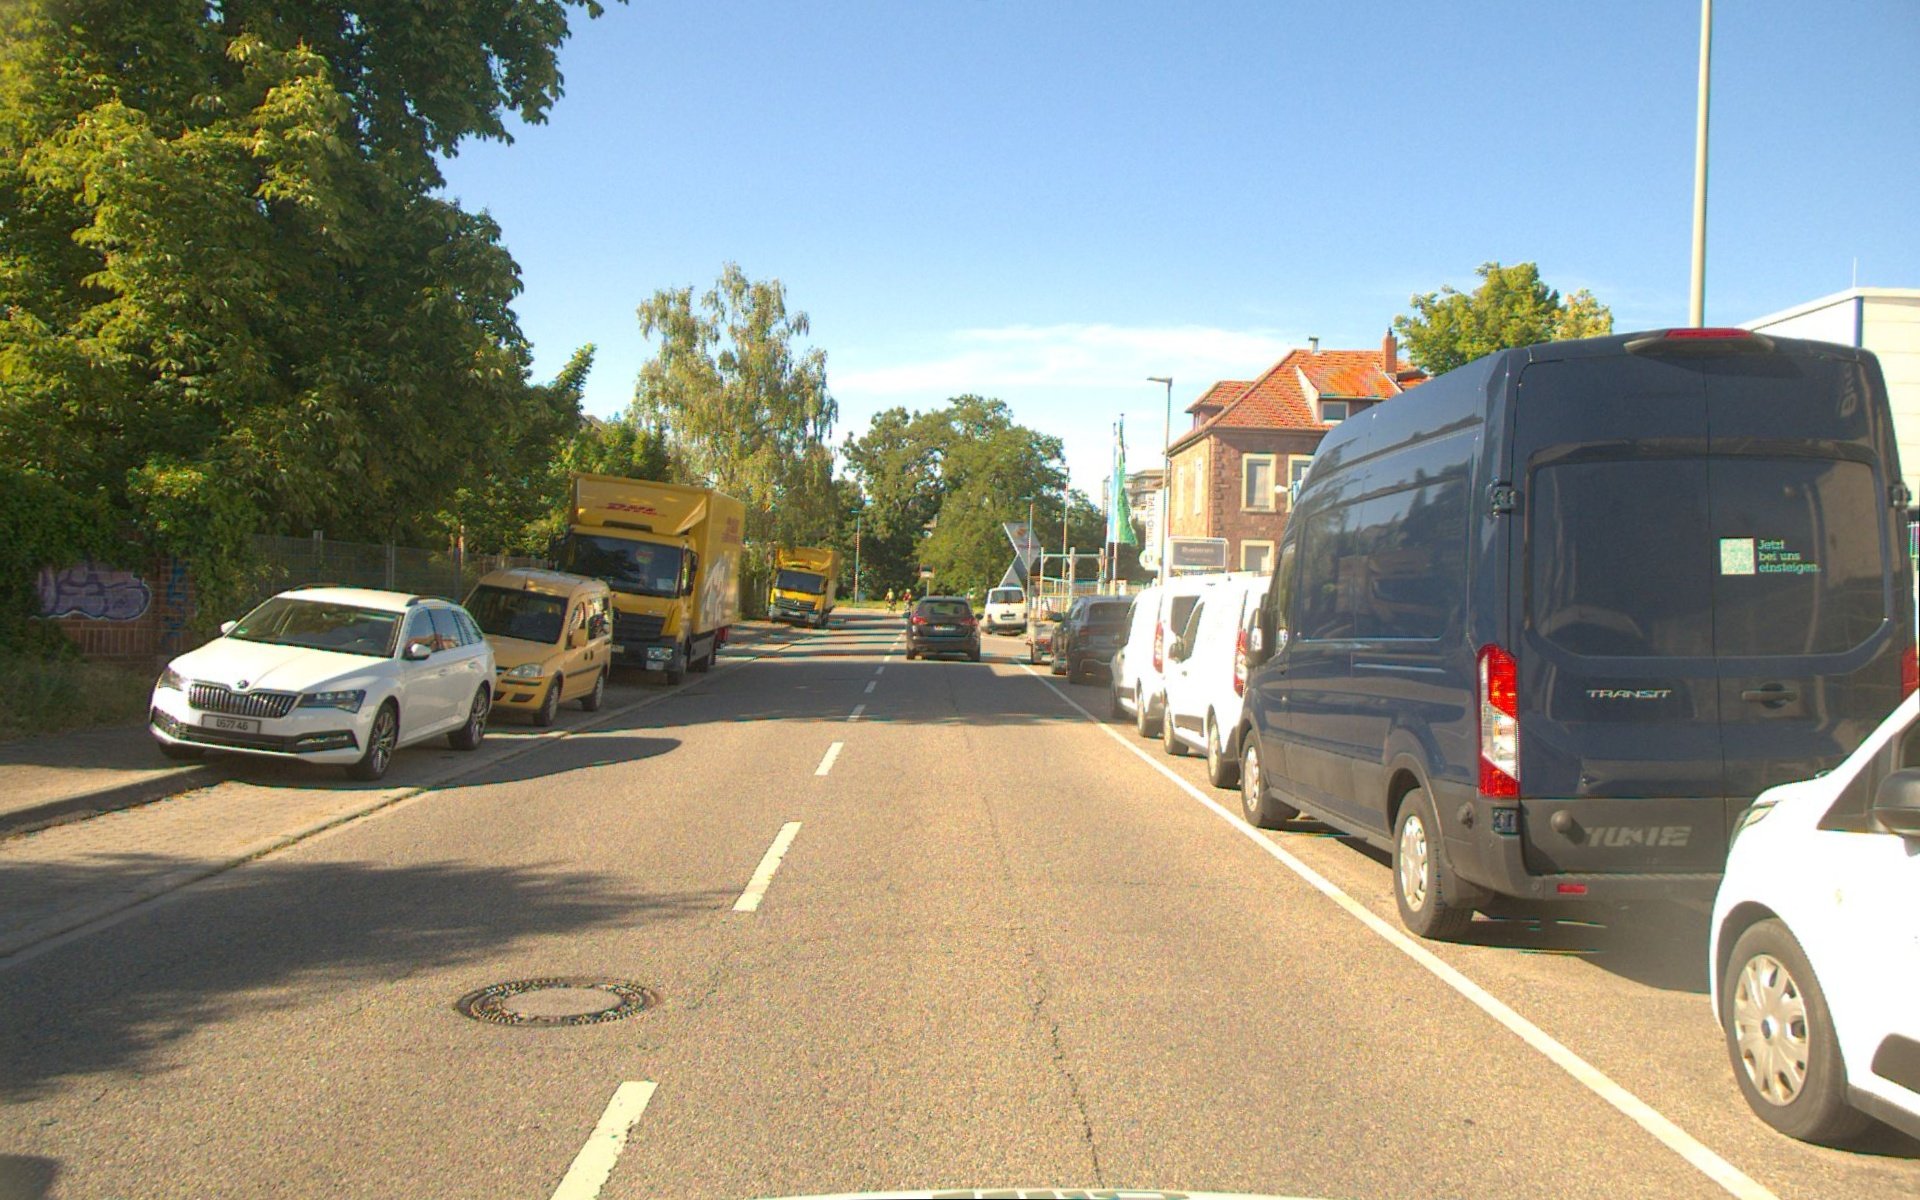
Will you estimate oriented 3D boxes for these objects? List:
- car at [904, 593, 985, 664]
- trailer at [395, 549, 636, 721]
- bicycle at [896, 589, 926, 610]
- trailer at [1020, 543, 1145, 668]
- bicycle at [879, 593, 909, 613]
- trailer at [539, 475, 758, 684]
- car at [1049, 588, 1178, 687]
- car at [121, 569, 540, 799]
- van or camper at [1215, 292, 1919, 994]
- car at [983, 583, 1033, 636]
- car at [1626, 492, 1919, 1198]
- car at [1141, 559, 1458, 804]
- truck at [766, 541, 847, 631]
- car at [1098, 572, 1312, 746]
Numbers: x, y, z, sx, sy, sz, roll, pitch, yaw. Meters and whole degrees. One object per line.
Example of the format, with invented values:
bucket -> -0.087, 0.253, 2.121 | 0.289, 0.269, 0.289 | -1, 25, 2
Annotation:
car -> -0.349, 0.636, 39.317 | 1.809, 1.557, 4.000 | 1, 0, 0
trailer -> -5.590, 0.409, 21.425 | 1.953, 1.975, 4.414 | 1, 0, -1
bicycle -> -3.261, -0.019, 109.895 | 0.797, 1.290, 2.231 | 3, 0, -35
trailer -> 2.813, 0.123, 39.394 | 2.410, 2.719, 5.700 | 1, 0, -1
bicycle -> -4.509, 0.185, 113.254 | 0.798, 1.242, 2.226 | 3, -1, -40
trailer -> -5.814, -0.355, 32.331 | 2.931, 3.503, 8.158 | 1, 0, -2
car -> 2.928, 0.693, 32.518 | 1.954, 1.696, 4.730 | 3, 0, -1
car -> -5.581, 0.655, 15.498 | 1.870, 1.620, 5.024 | 6, 0, 0
van or camper -> 3.157, 0.200, 9.928 | 2.097, 2.807, 6.160 | 3, 0, -1
car -> 1.982, 0.404, 69.980 | 1.836, 2.049, 5.159 | 3, 0, -1
car -> 3.459, 0.672, 3.492 | 1.848, 1.829, 5.102 | 3, 0, -2
car -> 3.026, 0.672, 15.917 | 1.847, 1.879, 5.103 | 3, 0, -1
truck -> -6.924, -0.704, 75.908 | 2.580, 3.564, 8.656 | 7, 1, -1
car -> 2.965, 0.676, 21.159 | 1.818, 1.862, 5.167 | 3, 0, -1
